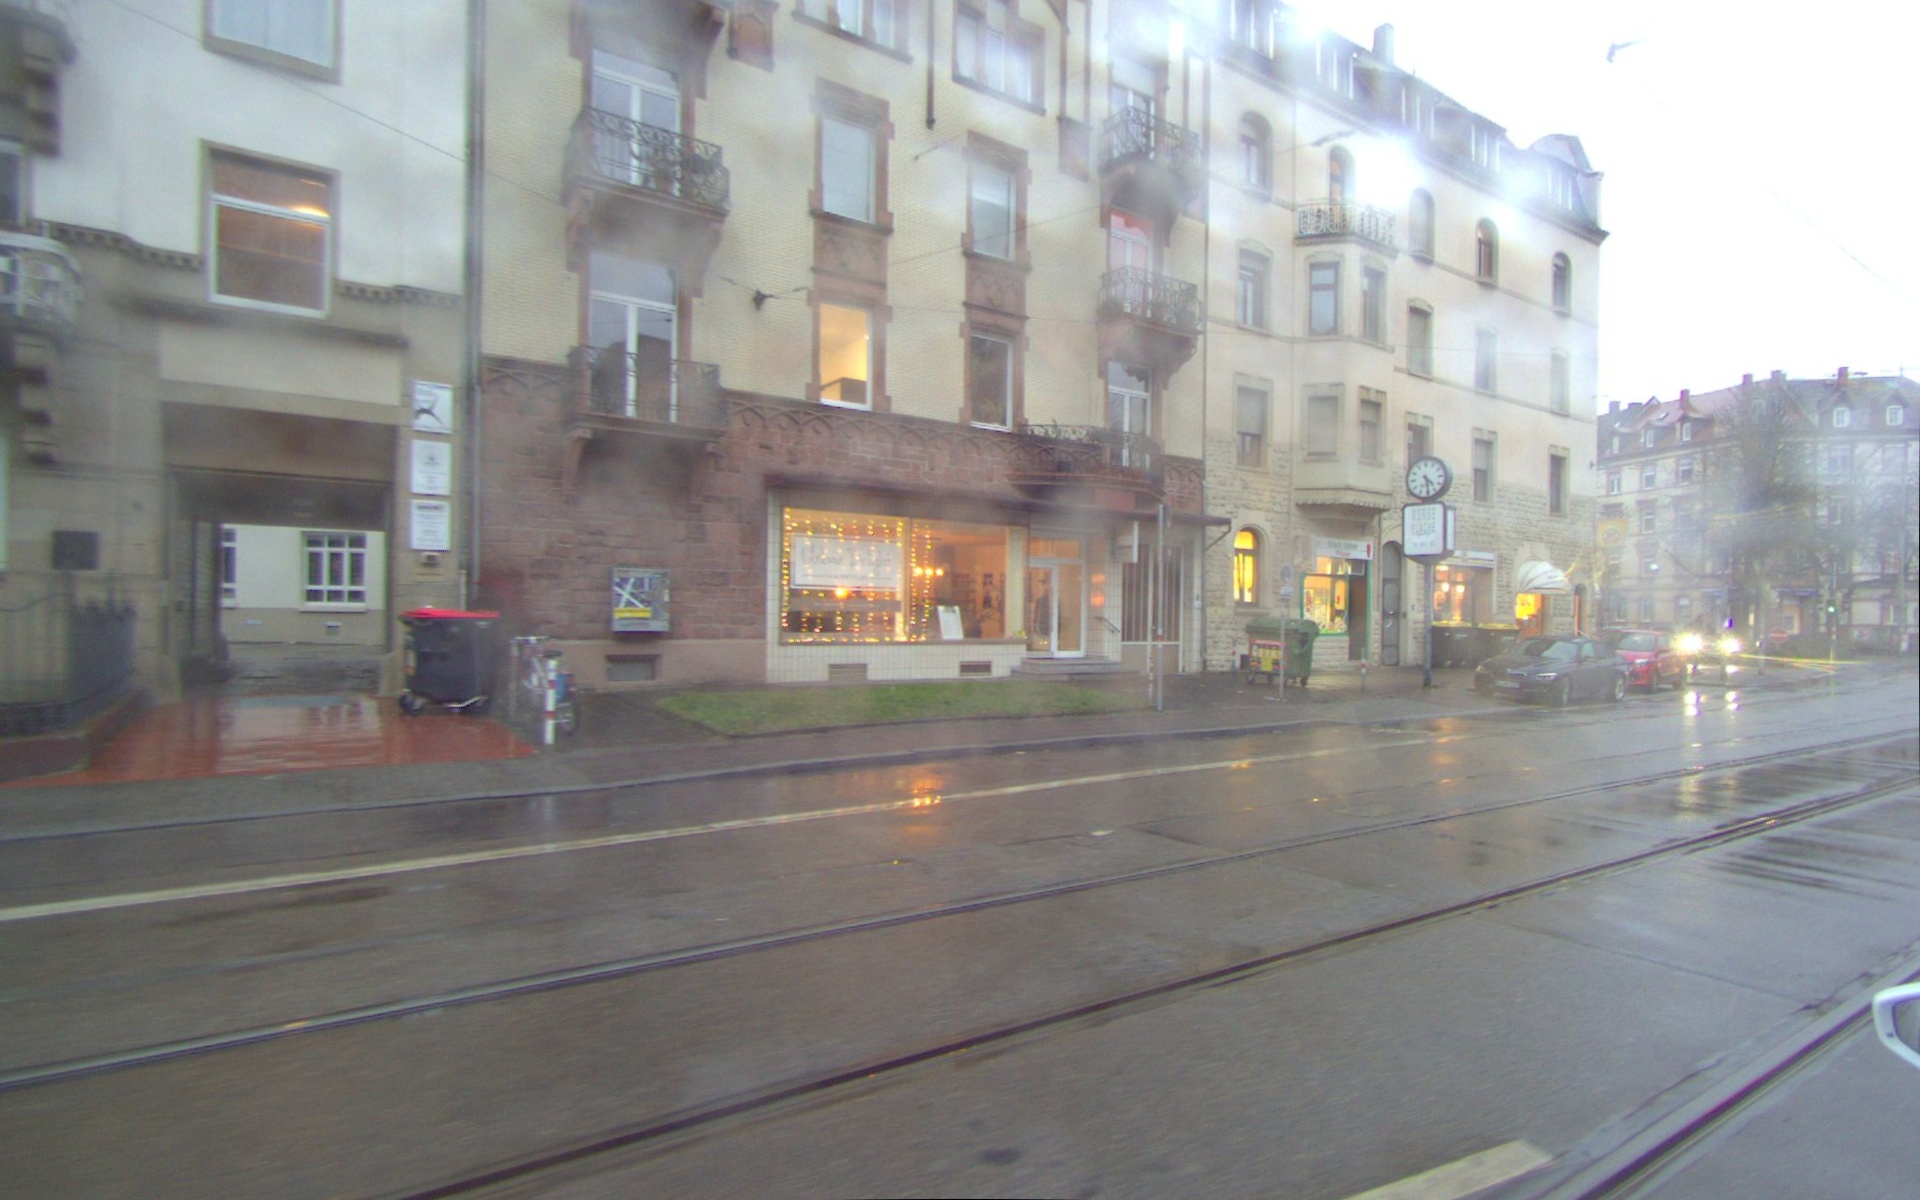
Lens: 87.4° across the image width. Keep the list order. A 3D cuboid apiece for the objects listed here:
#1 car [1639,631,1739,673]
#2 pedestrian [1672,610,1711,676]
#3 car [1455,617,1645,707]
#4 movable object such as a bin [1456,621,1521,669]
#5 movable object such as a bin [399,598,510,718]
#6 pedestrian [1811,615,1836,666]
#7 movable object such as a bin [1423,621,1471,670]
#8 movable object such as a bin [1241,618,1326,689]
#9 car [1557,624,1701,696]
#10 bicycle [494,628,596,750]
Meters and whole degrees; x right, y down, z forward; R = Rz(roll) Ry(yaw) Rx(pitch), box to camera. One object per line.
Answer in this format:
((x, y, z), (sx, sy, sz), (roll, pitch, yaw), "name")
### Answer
((32.839, 2.299, 45.389), (1.981, 1.695, 4.003), (1, -1, 8), "car")
((23.241, 1.360, 31.930), (0.635, 2.040, 0.758), (2, 0, 2), "pedestrian")
((13.377, 1.357, 22.700), (4.588, 1.667, 1.971), (2, 3, -37), "car")
((15.842, 1.333, 30.121), (1.239, 1.385, 1.286), (1, 0, -34), "movable object such as a bin")
((-6.491, 0.707, 12.869), (1.155, 1.398, 1.096), (1, 2, -32), "movable object such as a bin")
((34.901, 1.623, 40.591), (0.695, 2.040, 0.658), (0, -1, 37), "pedestrian")
((14.423, 1.332, 29.744), (0.996, 1.396, 0.893), (1, 0, -34), "movable object such as a bin")
((6.974, 1.133, 21.672), (1.237, 1.439, 1.260), (1, 0, -33), "movable object such as a bin")
((17.678, 1.501, 26.499), (3.997, 1.573, 2.021), (1, 3, -39), "car")
((-4.800, 0.953, 11.512), (0.687, 1.120, 2.336), (1, 1, -32), "bicycle")
